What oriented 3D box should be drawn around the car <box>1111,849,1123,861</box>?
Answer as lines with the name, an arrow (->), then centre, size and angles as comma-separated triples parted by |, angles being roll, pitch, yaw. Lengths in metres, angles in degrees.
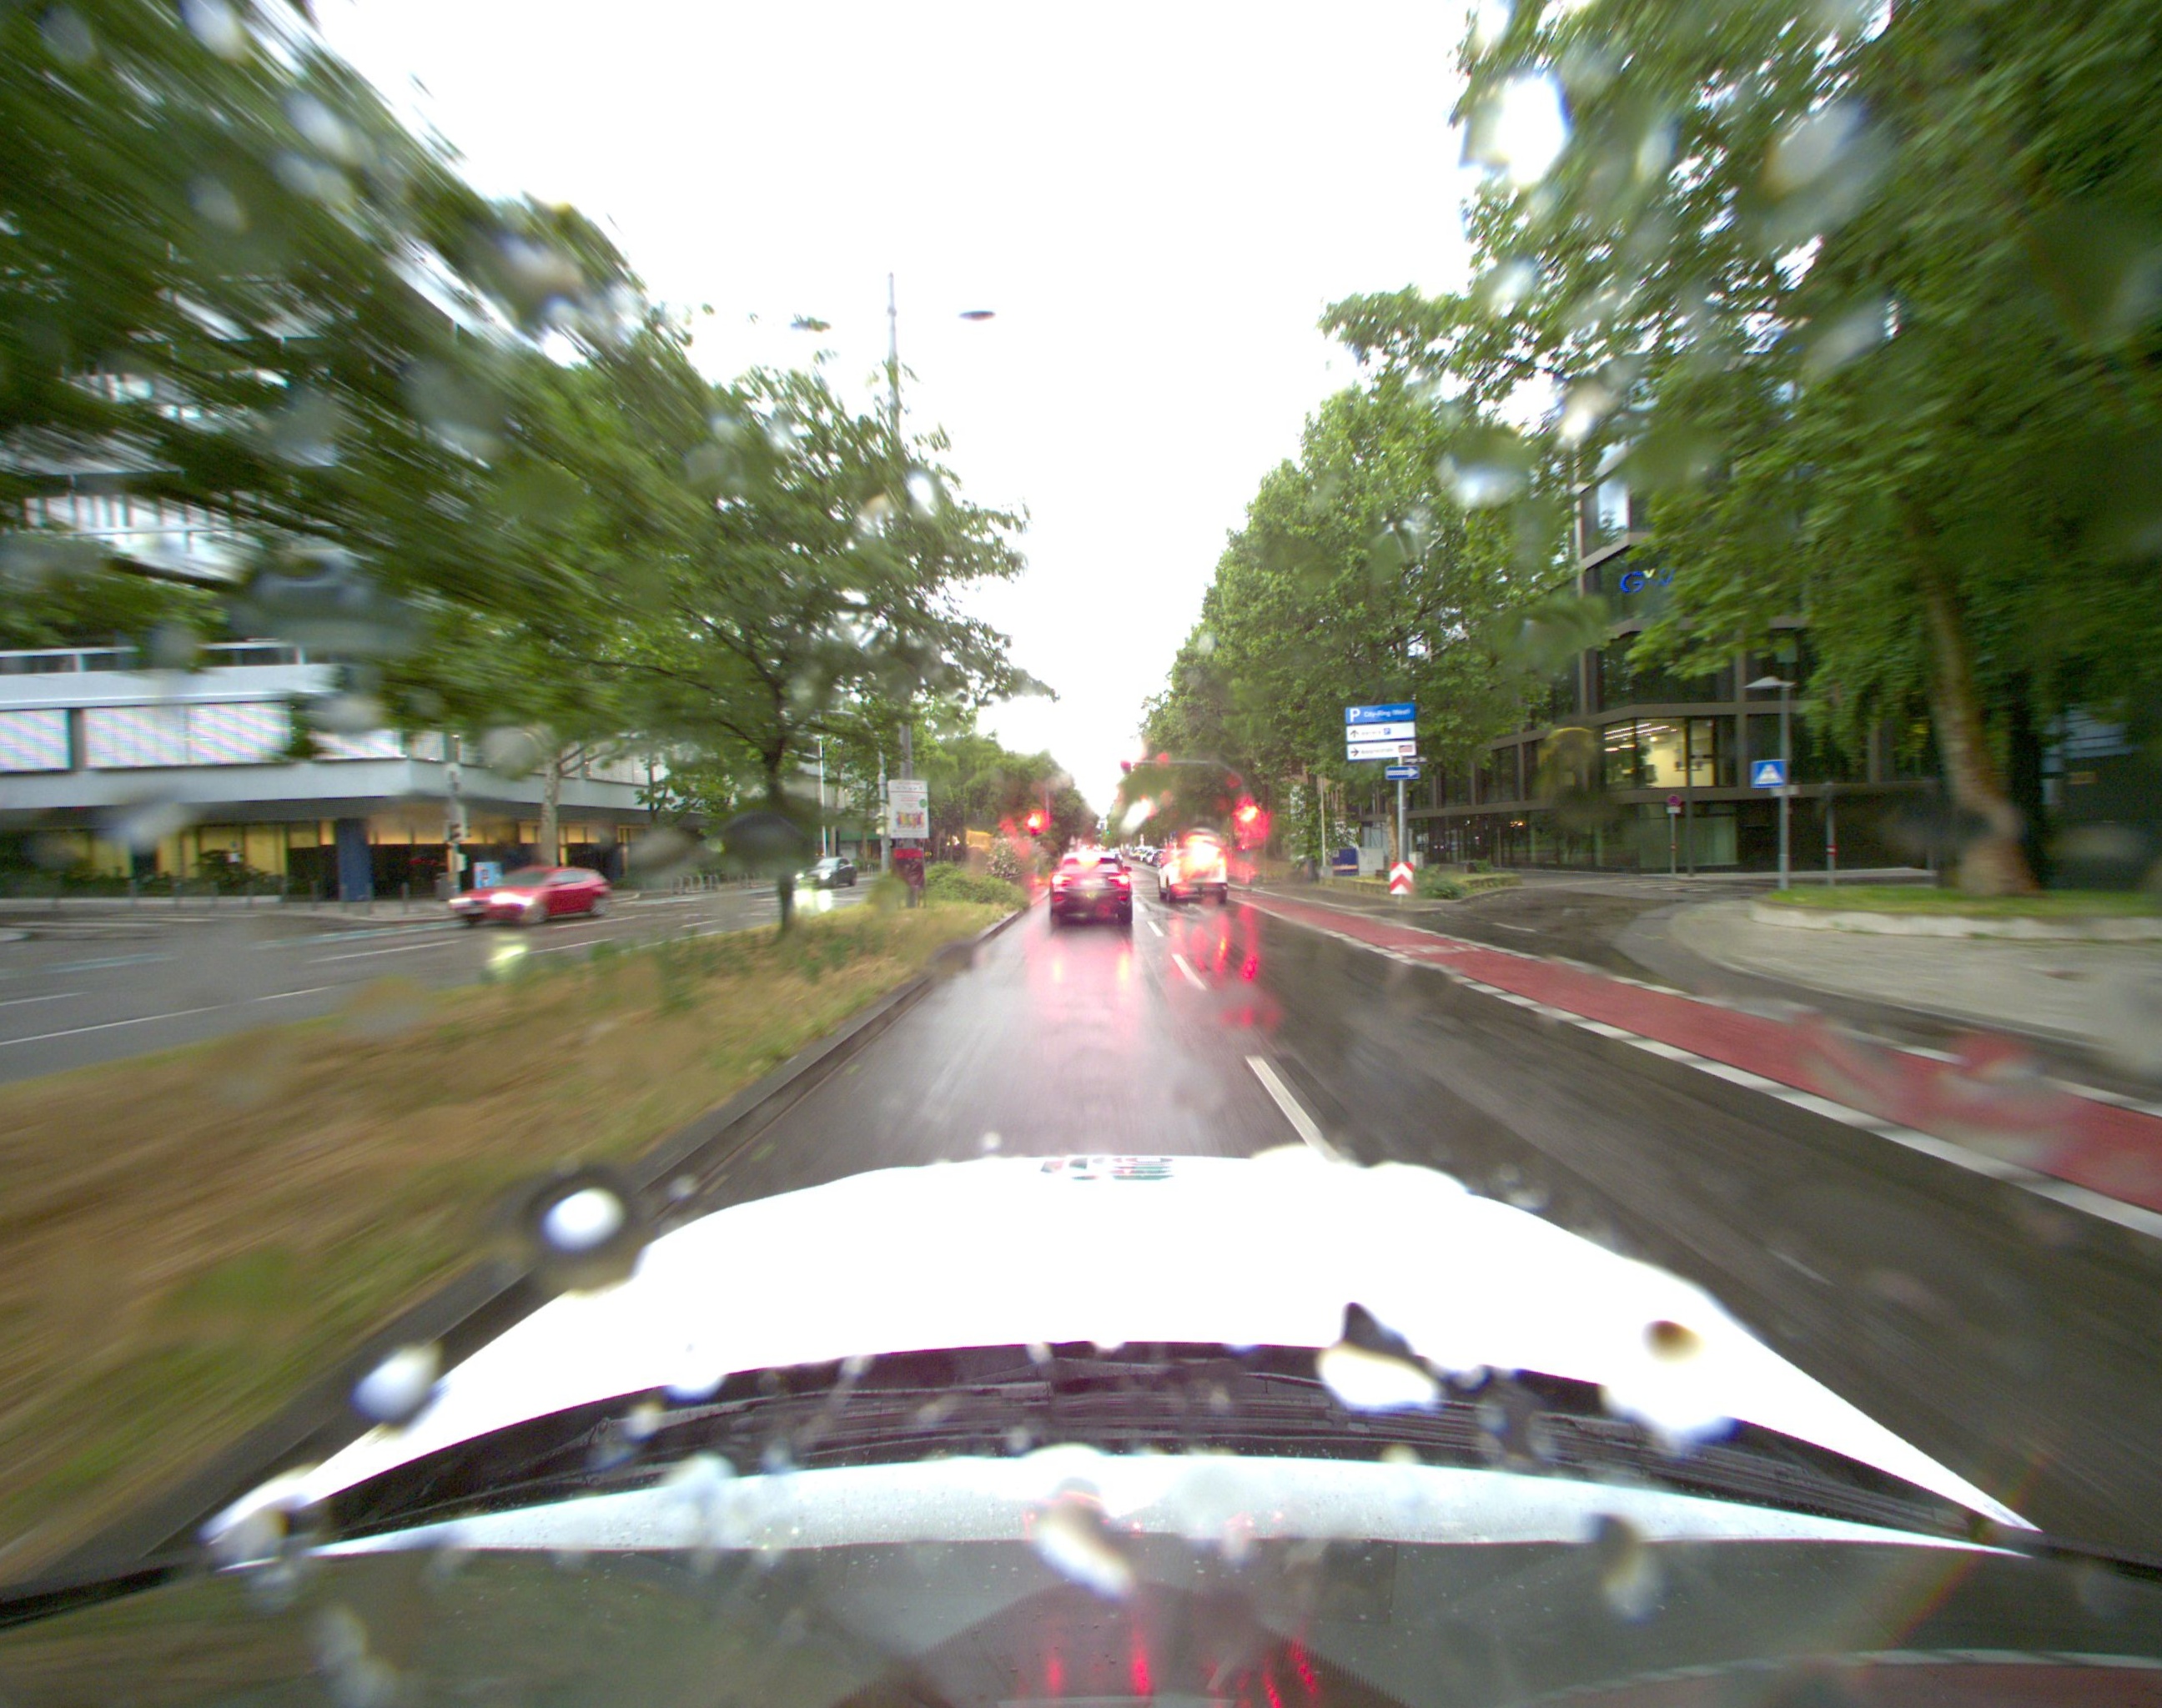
car -> 5.342, 0.082, 120.915 | 1.615, 1.666, 4.001 | -2, 1, 1

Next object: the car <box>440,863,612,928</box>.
car -> -14.540, 1.020, 21.650 | 1.609, 1.394, 4.185 | -1, 1, 1

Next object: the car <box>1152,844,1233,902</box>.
car -> 3.491, 0.532, 26.359 | 1.987, 1.655, 4.889 | -1, 1, 1

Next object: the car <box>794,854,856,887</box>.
car -> -13.395, 0.828, 42.844 | 1.823, 1.552, 4.189 | -1, 0, 1

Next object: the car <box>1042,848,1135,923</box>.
car -> 0.183, 0.650, 19.005 | 1.912, 1.491, 4.001 | -1, 1, 1
